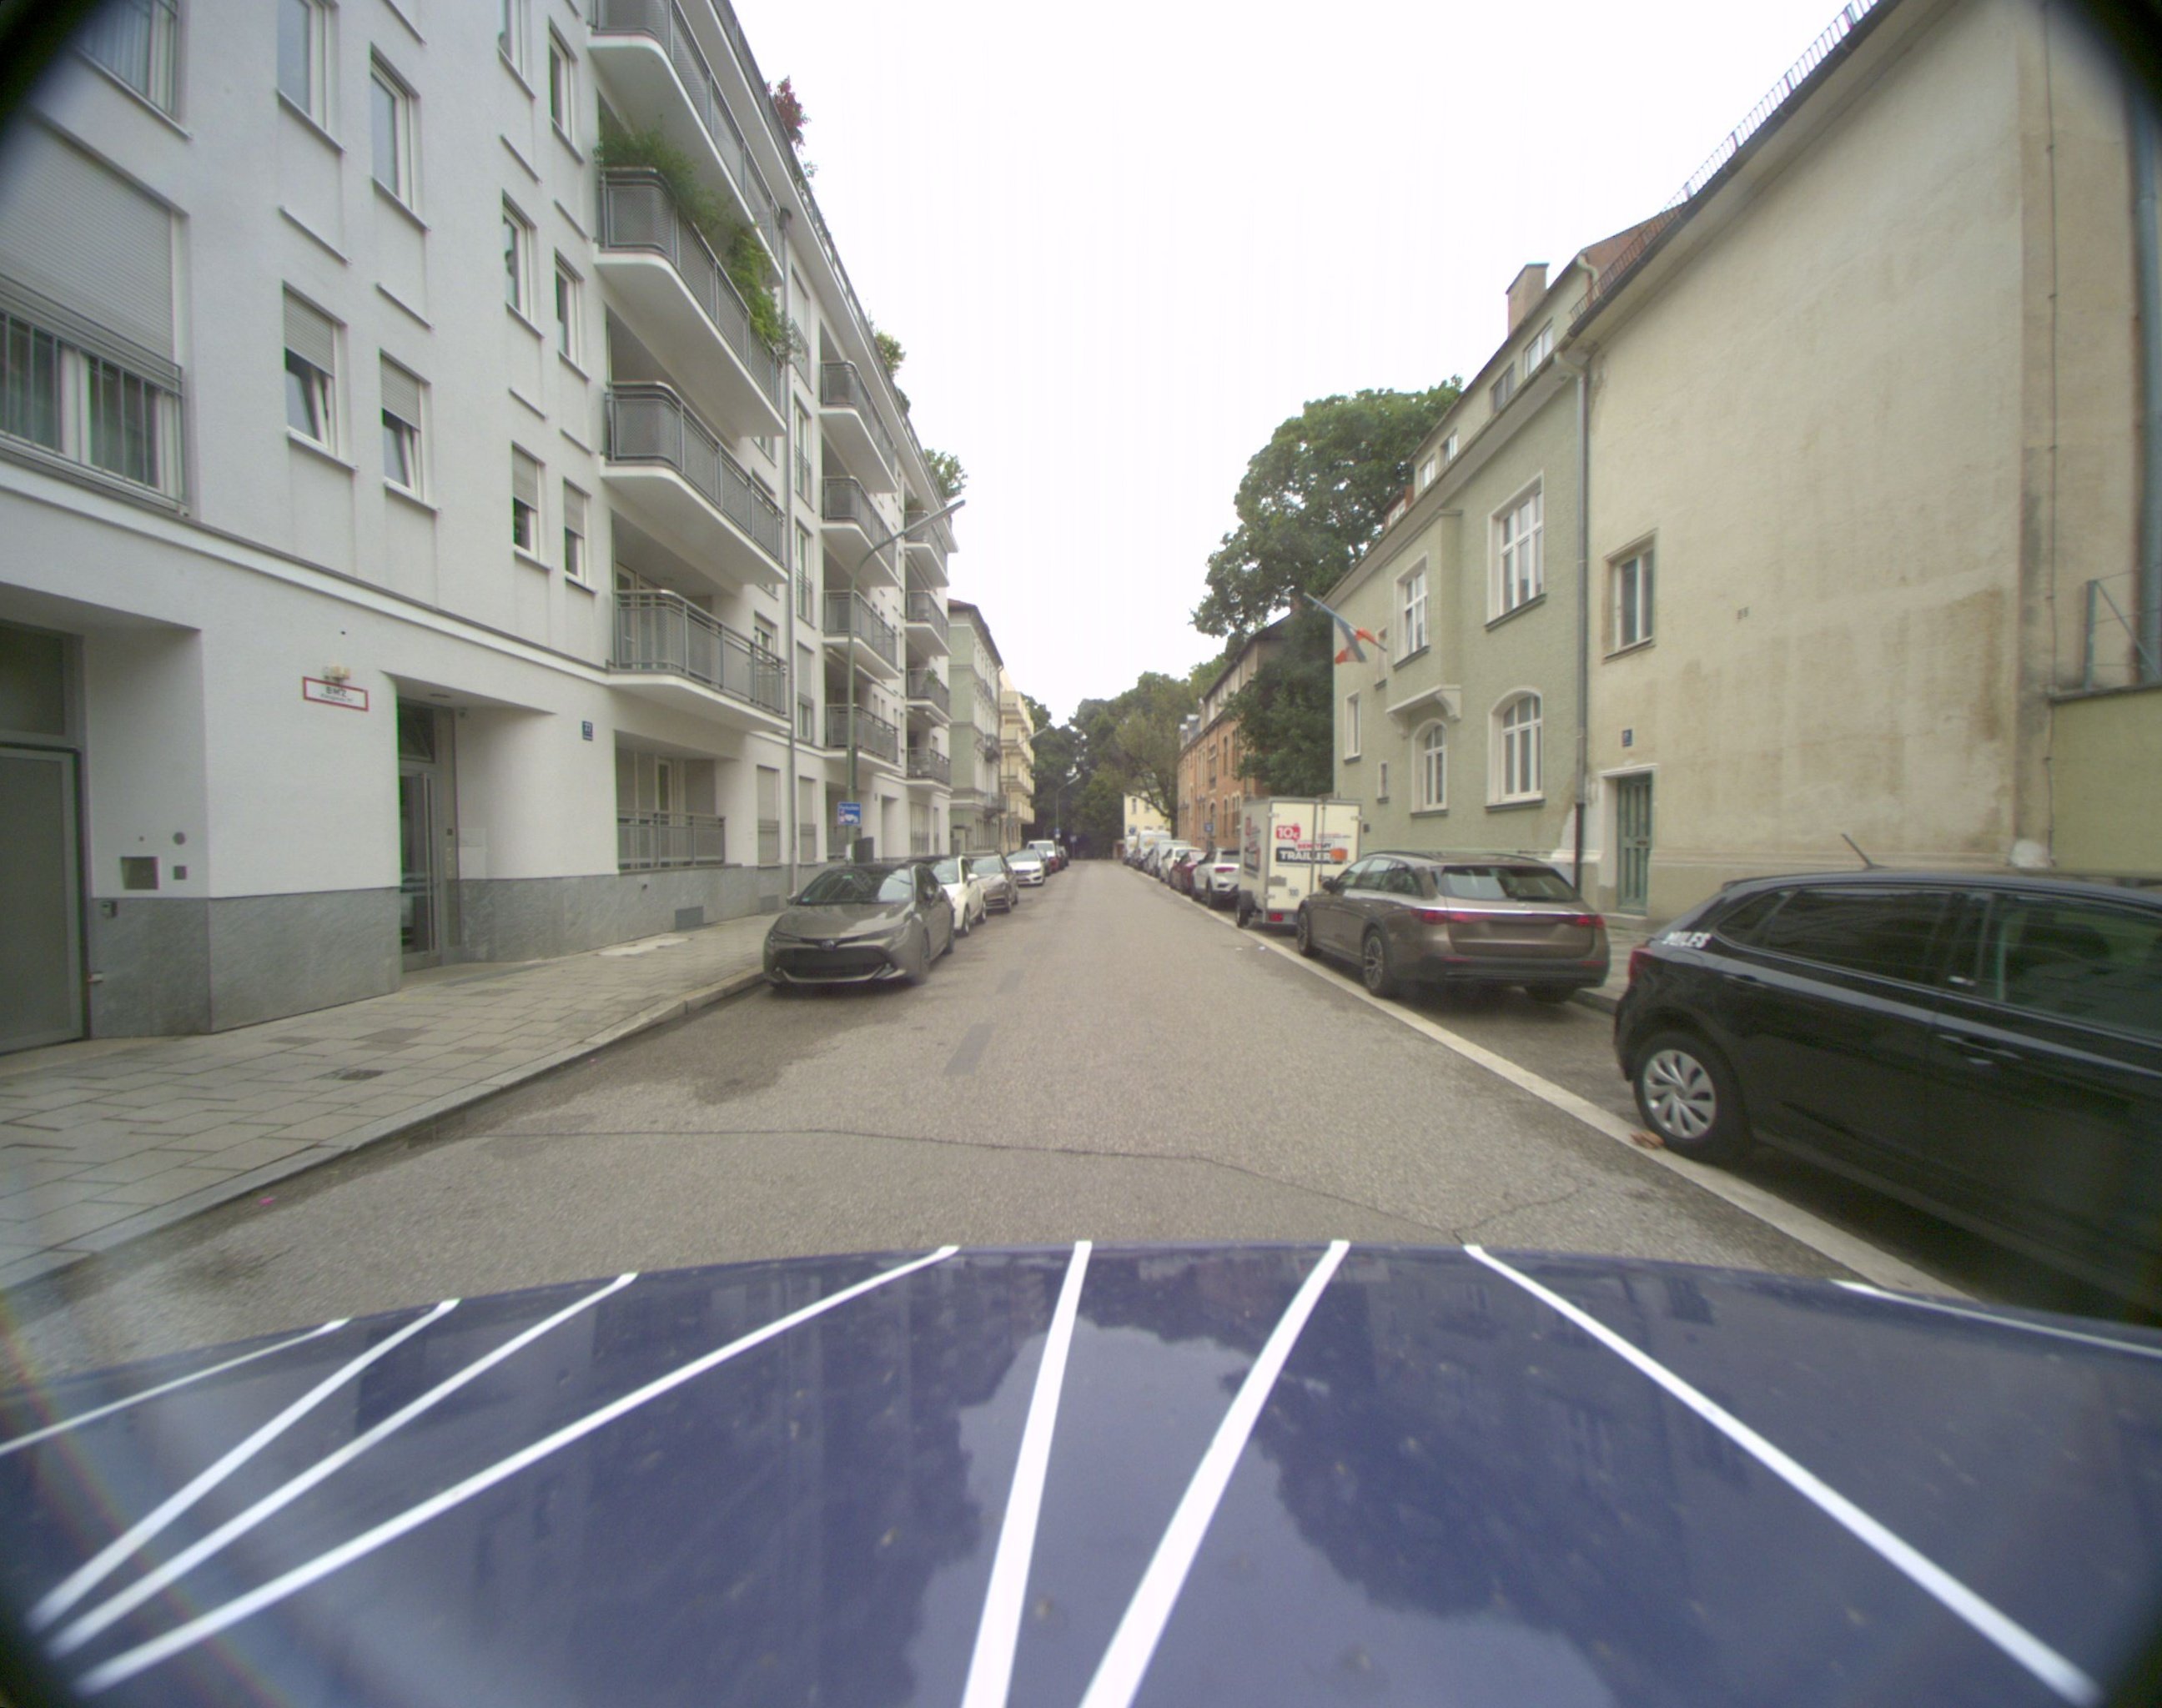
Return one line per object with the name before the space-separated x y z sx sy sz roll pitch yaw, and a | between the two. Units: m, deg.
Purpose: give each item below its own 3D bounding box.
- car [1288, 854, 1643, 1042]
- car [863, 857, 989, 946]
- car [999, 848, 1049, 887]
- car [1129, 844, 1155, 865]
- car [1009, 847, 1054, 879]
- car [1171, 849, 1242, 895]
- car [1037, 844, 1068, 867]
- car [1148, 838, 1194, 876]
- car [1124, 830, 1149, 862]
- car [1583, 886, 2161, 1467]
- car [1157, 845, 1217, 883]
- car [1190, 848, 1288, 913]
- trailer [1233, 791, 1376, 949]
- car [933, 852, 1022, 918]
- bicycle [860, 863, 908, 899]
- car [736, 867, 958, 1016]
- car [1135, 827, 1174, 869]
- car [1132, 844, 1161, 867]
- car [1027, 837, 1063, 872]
car | 3.838 0.786 8.678 1.817 1.491 4.643 0 1 2
car | -2.889 0.836 14.874 1.766 1.449 3.417 -1 1 0
car | -2.275 0.519 31.277 1.766 1.449 3.746 -1 1 0
car | 4.592 -0.004 57.663 1.817 1.526 3.751 -1 1 2
car | -2.404 0.396 37.728 1.766 1.449 3.748 -1 1 3
car | 4.038 0.538 24.912 1.817 1.339 3.746 -1 1 2
car | -1.889 0.088 51.920 1.871 1.455 4.267 -1 1 1
car | 4.276 0.113 36.736 1.818 1.724 3.649 -1 1 1
car | 4.627 -0.666 63.429 1.881 2.539 4.369 -1 1 2
car | 3.713 0.918 2.203 1.697 1.417 4.069 0 1 -2
car | 4.223 0.353 30.781 1.818 1.444 3.927 -1 1 0
car | 3.992 0.602 19.757 1.767 1.505 3.841 0 1 1
trailer | 4.035 0.237 14.293 1.817 2.521 3.389 3 1 5
car | -2.550 0.718 19.462 1.766 1.449 3.746 -1 1 0
bicycle | -6.117 0.810 23.742 0.580 1.008 1.954 -2 1 13
car | -2.755 0.936 9.995 1.784 1.386 4.244 -1 1 -3
car | 4.492 -0.375 47.053 2.104 2.418 4.549 -1 1 2
car | 4.491 0.061 52.758 1.817 1.526 3.747 -1 1 2
car | -2.132 0.018 46.393 1.871 2.002 4.267 -1 1 1
